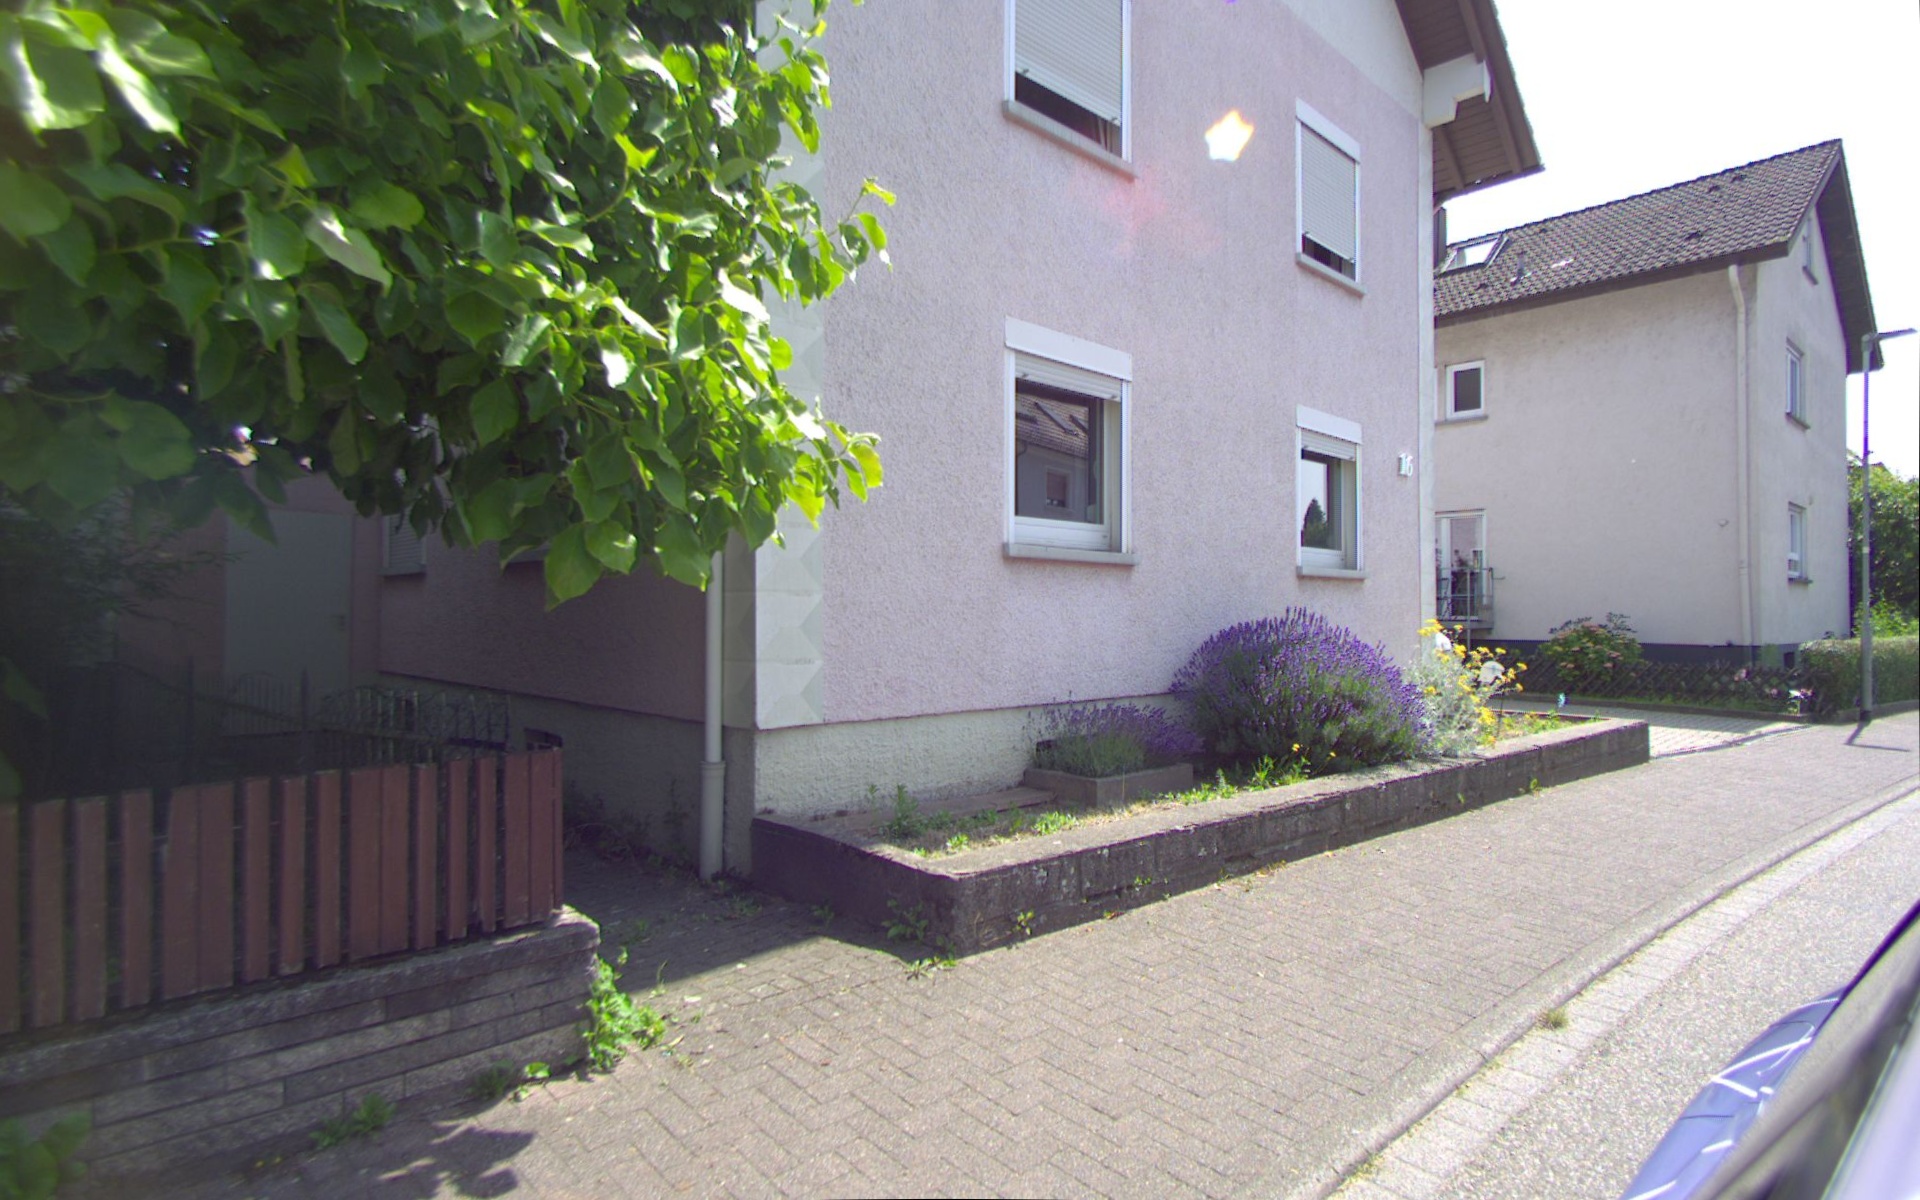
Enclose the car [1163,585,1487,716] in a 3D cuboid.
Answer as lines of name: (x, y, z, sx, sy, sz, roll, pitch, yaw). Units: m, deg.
car: (4.784, 0.569, 13.591, 3.749, 1.479, 1.653, 1, 0, 45)
